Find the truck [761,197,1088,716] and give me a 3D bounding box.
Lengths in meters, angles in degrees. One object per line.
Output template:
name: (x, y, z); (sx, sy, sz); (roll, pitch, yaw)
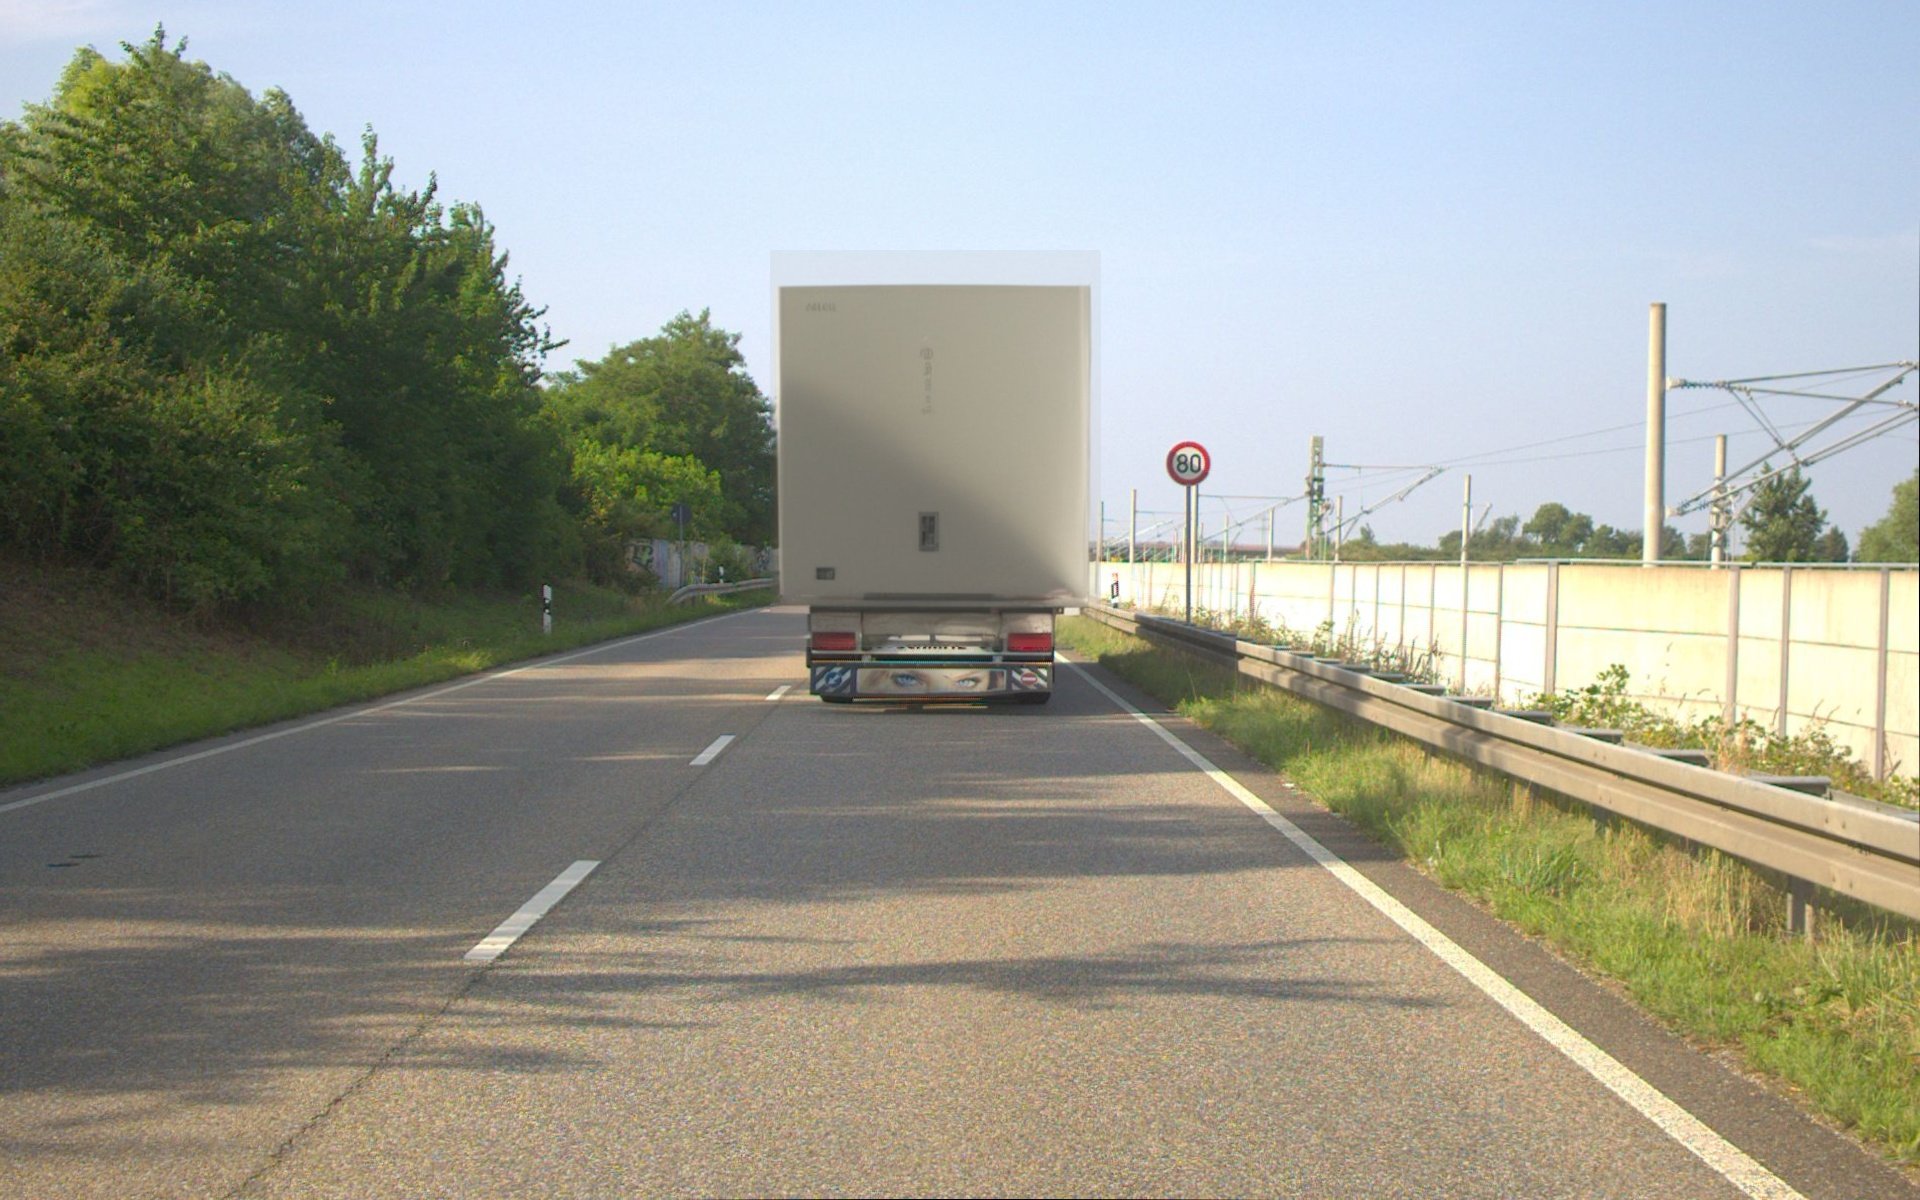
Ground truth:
truck: (-0.510, -1.416, 38.714); (3.033, 4.903, 11.685); (1, 0, -2)
